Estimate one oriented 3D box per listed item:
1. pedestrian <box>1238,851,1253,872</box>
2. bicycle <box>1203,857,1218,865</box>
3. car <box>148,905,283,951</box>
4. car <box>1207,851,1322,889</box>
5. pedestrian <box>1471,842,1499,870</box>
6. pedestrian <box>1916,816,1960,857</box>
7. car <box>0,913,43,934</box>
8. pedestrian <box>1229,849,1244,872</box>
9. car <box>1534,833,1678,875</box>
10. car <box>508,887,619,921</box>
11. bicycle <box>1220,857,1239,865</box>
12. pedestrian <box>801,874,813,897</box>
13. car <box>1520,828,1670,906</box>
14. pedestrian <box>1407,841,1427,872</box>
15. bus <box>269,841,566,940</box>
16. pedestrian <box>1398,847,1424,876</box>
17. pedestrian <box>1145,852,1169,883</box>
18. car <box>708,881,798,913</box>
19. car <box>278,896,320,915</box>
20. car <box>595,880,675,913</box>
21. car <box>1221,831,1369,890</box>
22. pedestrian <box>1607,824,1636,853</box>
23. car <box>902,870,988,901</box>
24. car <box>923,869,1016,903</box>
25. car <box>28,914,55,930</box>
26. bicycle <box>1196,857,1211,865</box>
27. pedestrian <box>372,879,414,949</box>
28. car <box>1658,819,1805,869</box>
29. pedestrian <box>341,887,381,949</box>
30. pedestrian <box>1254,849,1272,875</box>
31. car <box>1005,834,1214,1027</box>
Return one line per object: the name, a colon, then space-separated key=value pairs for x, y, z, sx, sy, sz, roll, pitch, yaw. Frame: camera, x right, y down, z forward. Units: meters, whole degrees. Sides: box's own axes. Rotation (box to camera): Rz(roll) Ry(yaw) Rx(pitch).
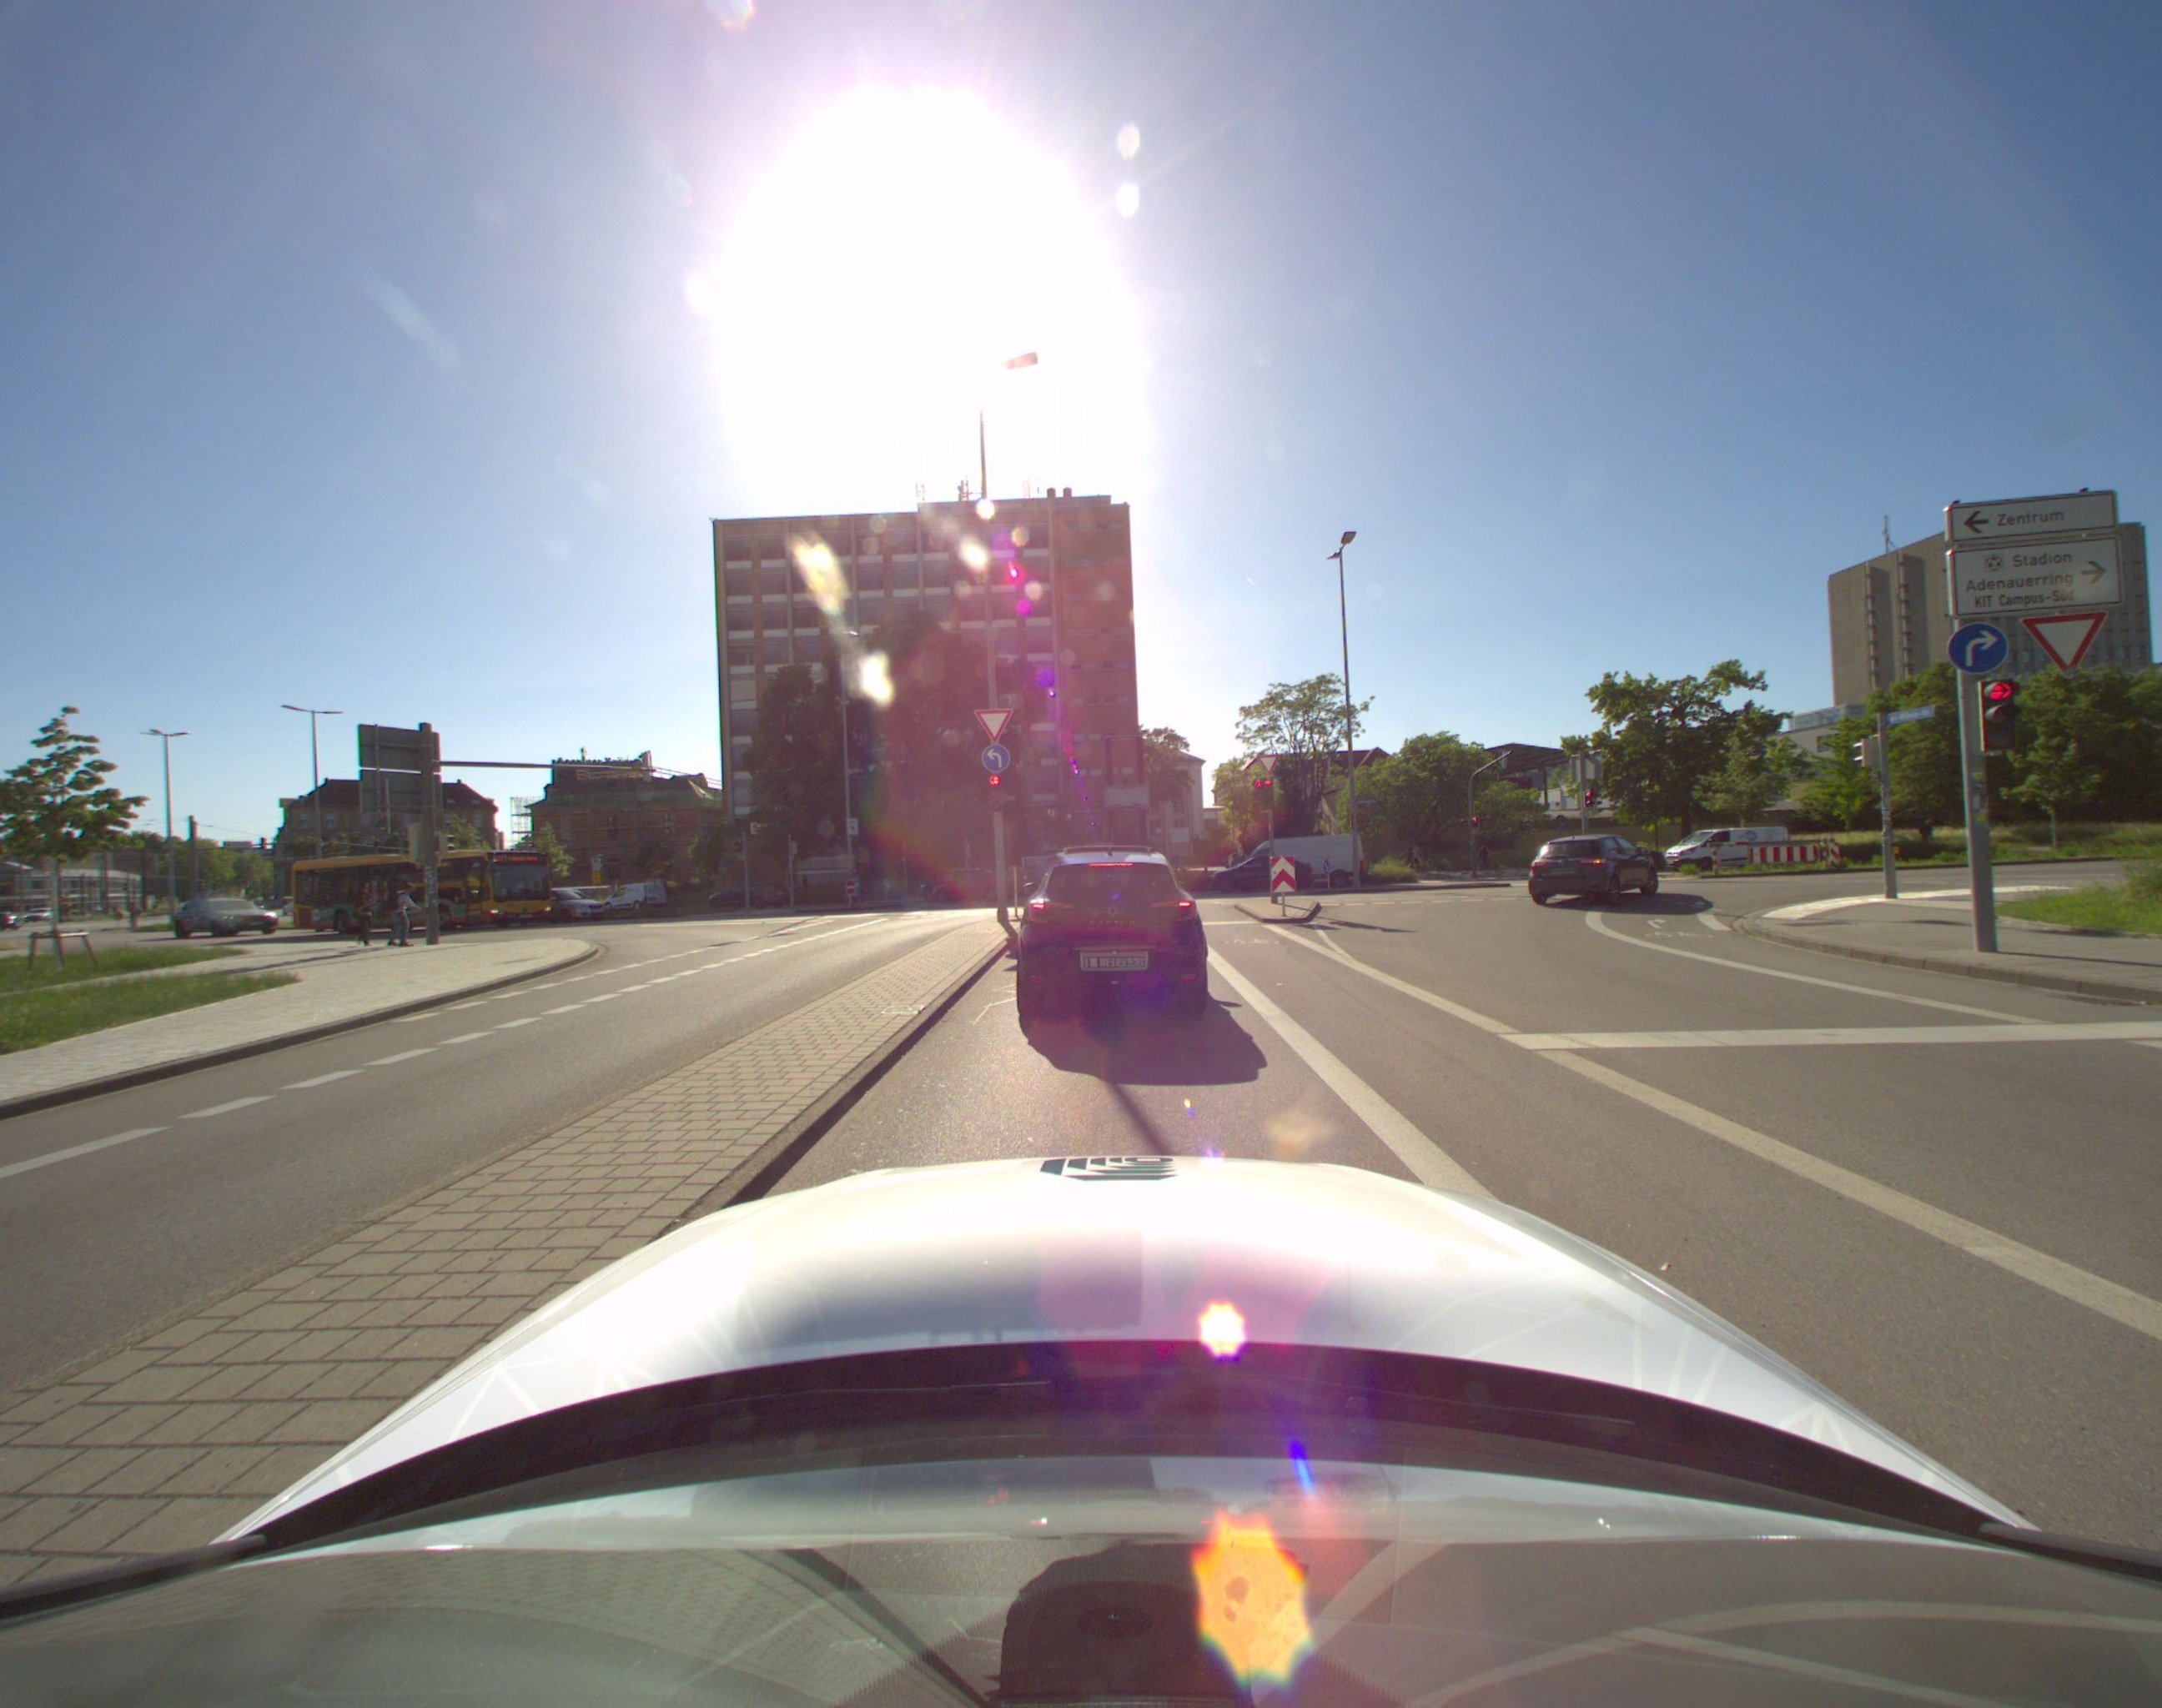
pedestrian: x=12.787 y=0.581 z=63.278 sx=0.932 sy=1.613 sz=1.176 roll=-2 pitch=0 yaw=2
bicycle: x=15.633 y=0.817 z=98.230 sx=1.764 sy=0.898 sz=0.766 roll=-2 pitch=0 yaw=2
car: x=-40.241 y=3.436 z=37.908 sx=4.697 sy=1.861 sz=2.011 roll=-2 pitch=0 yaw=10
car: x=8.330 y=0.760 z=37.377 sx=5.001 sy=1.673 sz=2.005 roll=-1 pitch=-2 yaw=8
pedestrian: x=22.794 y=0.097 z=45.958 sx=1.140 sy=1.521 sz=0.943 roll=-2 pitch=0 yaw=7
pedestrian: x=44.534 y=-0.899 z=42.328 sx=1.181 sy=2.079 sz=0.983 roll=-2 pitch=0 yaw=5
car: x=-88.557 y=5.718 z=66.620 sx=4.011 sy=1.582 sz=1.981 roll=0 pitch=-1 yaw=-29
pedestrian: x=12.149 y=0.471 z=63.635 sx=0.949 sy=1.741 sz=0.984 roll=-2 pitch=0 yaw=2
car: x=22.817 y=-0.010 z=35.584 sx=4.816 sy=1.582 sz=2.106 roll=-2 pitch=0 yaw=7
car: x=-22.162 y=2.141 z=34.893 sx=3.815 sy=1.403 sz=1.899 roll=-2 pitch=-3 yaw=15
bicycle: x=15.764 y=0.737 z=86.418 sx=1.770 sy=0.823 sz=0.763 roll=-2 pitch=0 yaw=-9
pedestrian: x=-19.061 y=2.185 z=56.606 sx=0.528 sy=1.571 sz=0.559 roll=-3 pitch=-1 yaw=26
car: x=11.985 y=0.232 z=18.895 sx=4.020 sy=1.516 sz=1.722 roll=-3 pitch=1 yaw=-39
pedestrian: x=19.442 y=0.128 z=47.177 sx=0.955 sy=1.732 sz=0.930 roll=-2 pitch=0 yaw=20
bus: x=-27.206 y=1.527 z=33.269 sx=12.320 sy=3.570 sz=3.266 roll=-2 pitch=0 yaw=19
pedestrian: x=18.135 y=0.405 z=44.791 sx=1.069 sy=1.521 sz=0.880 roll=-2 pitch=0 yaw=6
pedestrian: x=4.696 y=0.843 z=50.048 sx=1.288 sy=1.855 sz=0.969 roll=-2 pitch=0 yaw=13
car: x=-17.510 y=2.283 z=43.584 sx=3.876 sy=1.448 sz=2.108 roll=-2 pitch=0 yaw=11
car: x=-74.121 y=4.853 z=77.172 sx=3.948 sy=1.582 sz=2.013 roll=-1 pitch=-1 yaw=33
car: x=-28.790 y=2.721 z=52.606 sx=4.137 sy=1.881 sz=2.226 roll=-2 pitch=0 yaw=19
car: x=10.600 y=0.332 z=40.946 sx=6.891 sy=2.547 sz=3.022 roll=-2 pitch=0 yaw=10
pedestrian: x=29.635 y=-0.858 z=44.634 sx=0.966 sy=1.521 sz=0.886 roll=-2 pitch=0 yaw=5
car: x=-7.334 y=1.697 z=44.082 sx=4.013 sy=1.439 sz=2.075 roll=-2 pitch=0 yaw=16
car: x=-5.502 y=1.584 z=40.463 sx=4.018 sy=1.439 sz=2.072 roll=-2 pitch=0 yaw=12
car: x=-127.033 y=8.312 z=99.521 sx=3.948 sy=1.706 sz=1.916 roll=-3 pitch=0 yaw=39
bicycle: x=15.480 y=0.860 z=102.600 sx=1.764 sy=0.893 sz=0.766 roll=-2 pitch=0 yaw=2
pedestrian: x=-18.828 y=1.621 z=22.285 sx=0.673 sy=1.855 sz=0.608 roll=-3 pitch=-1 yaw=24
car: x=30.004 y=-0.438 z=37.716 sx=4.974 sy=2.013 sz=2.076 roll=-2 pitch=0 yaw=6
pedestrian: x=-20.551 y=1.827 z=23.242 sx=0.627 sy=1.697 sz=0.608 roll=-3 pitch=-1 yaw=24
pedestrian: x=14.530 y=0.631 z=65.127 sx=1.152 sy=2.013 sz=1.165 roll=-2 pitch=0 yaw=2
car: x=0.275 y=0.658 z=8.990 sx=1.788 sy=1.655 sz=3.853 roll=-1 pitch=0 yaw=1
